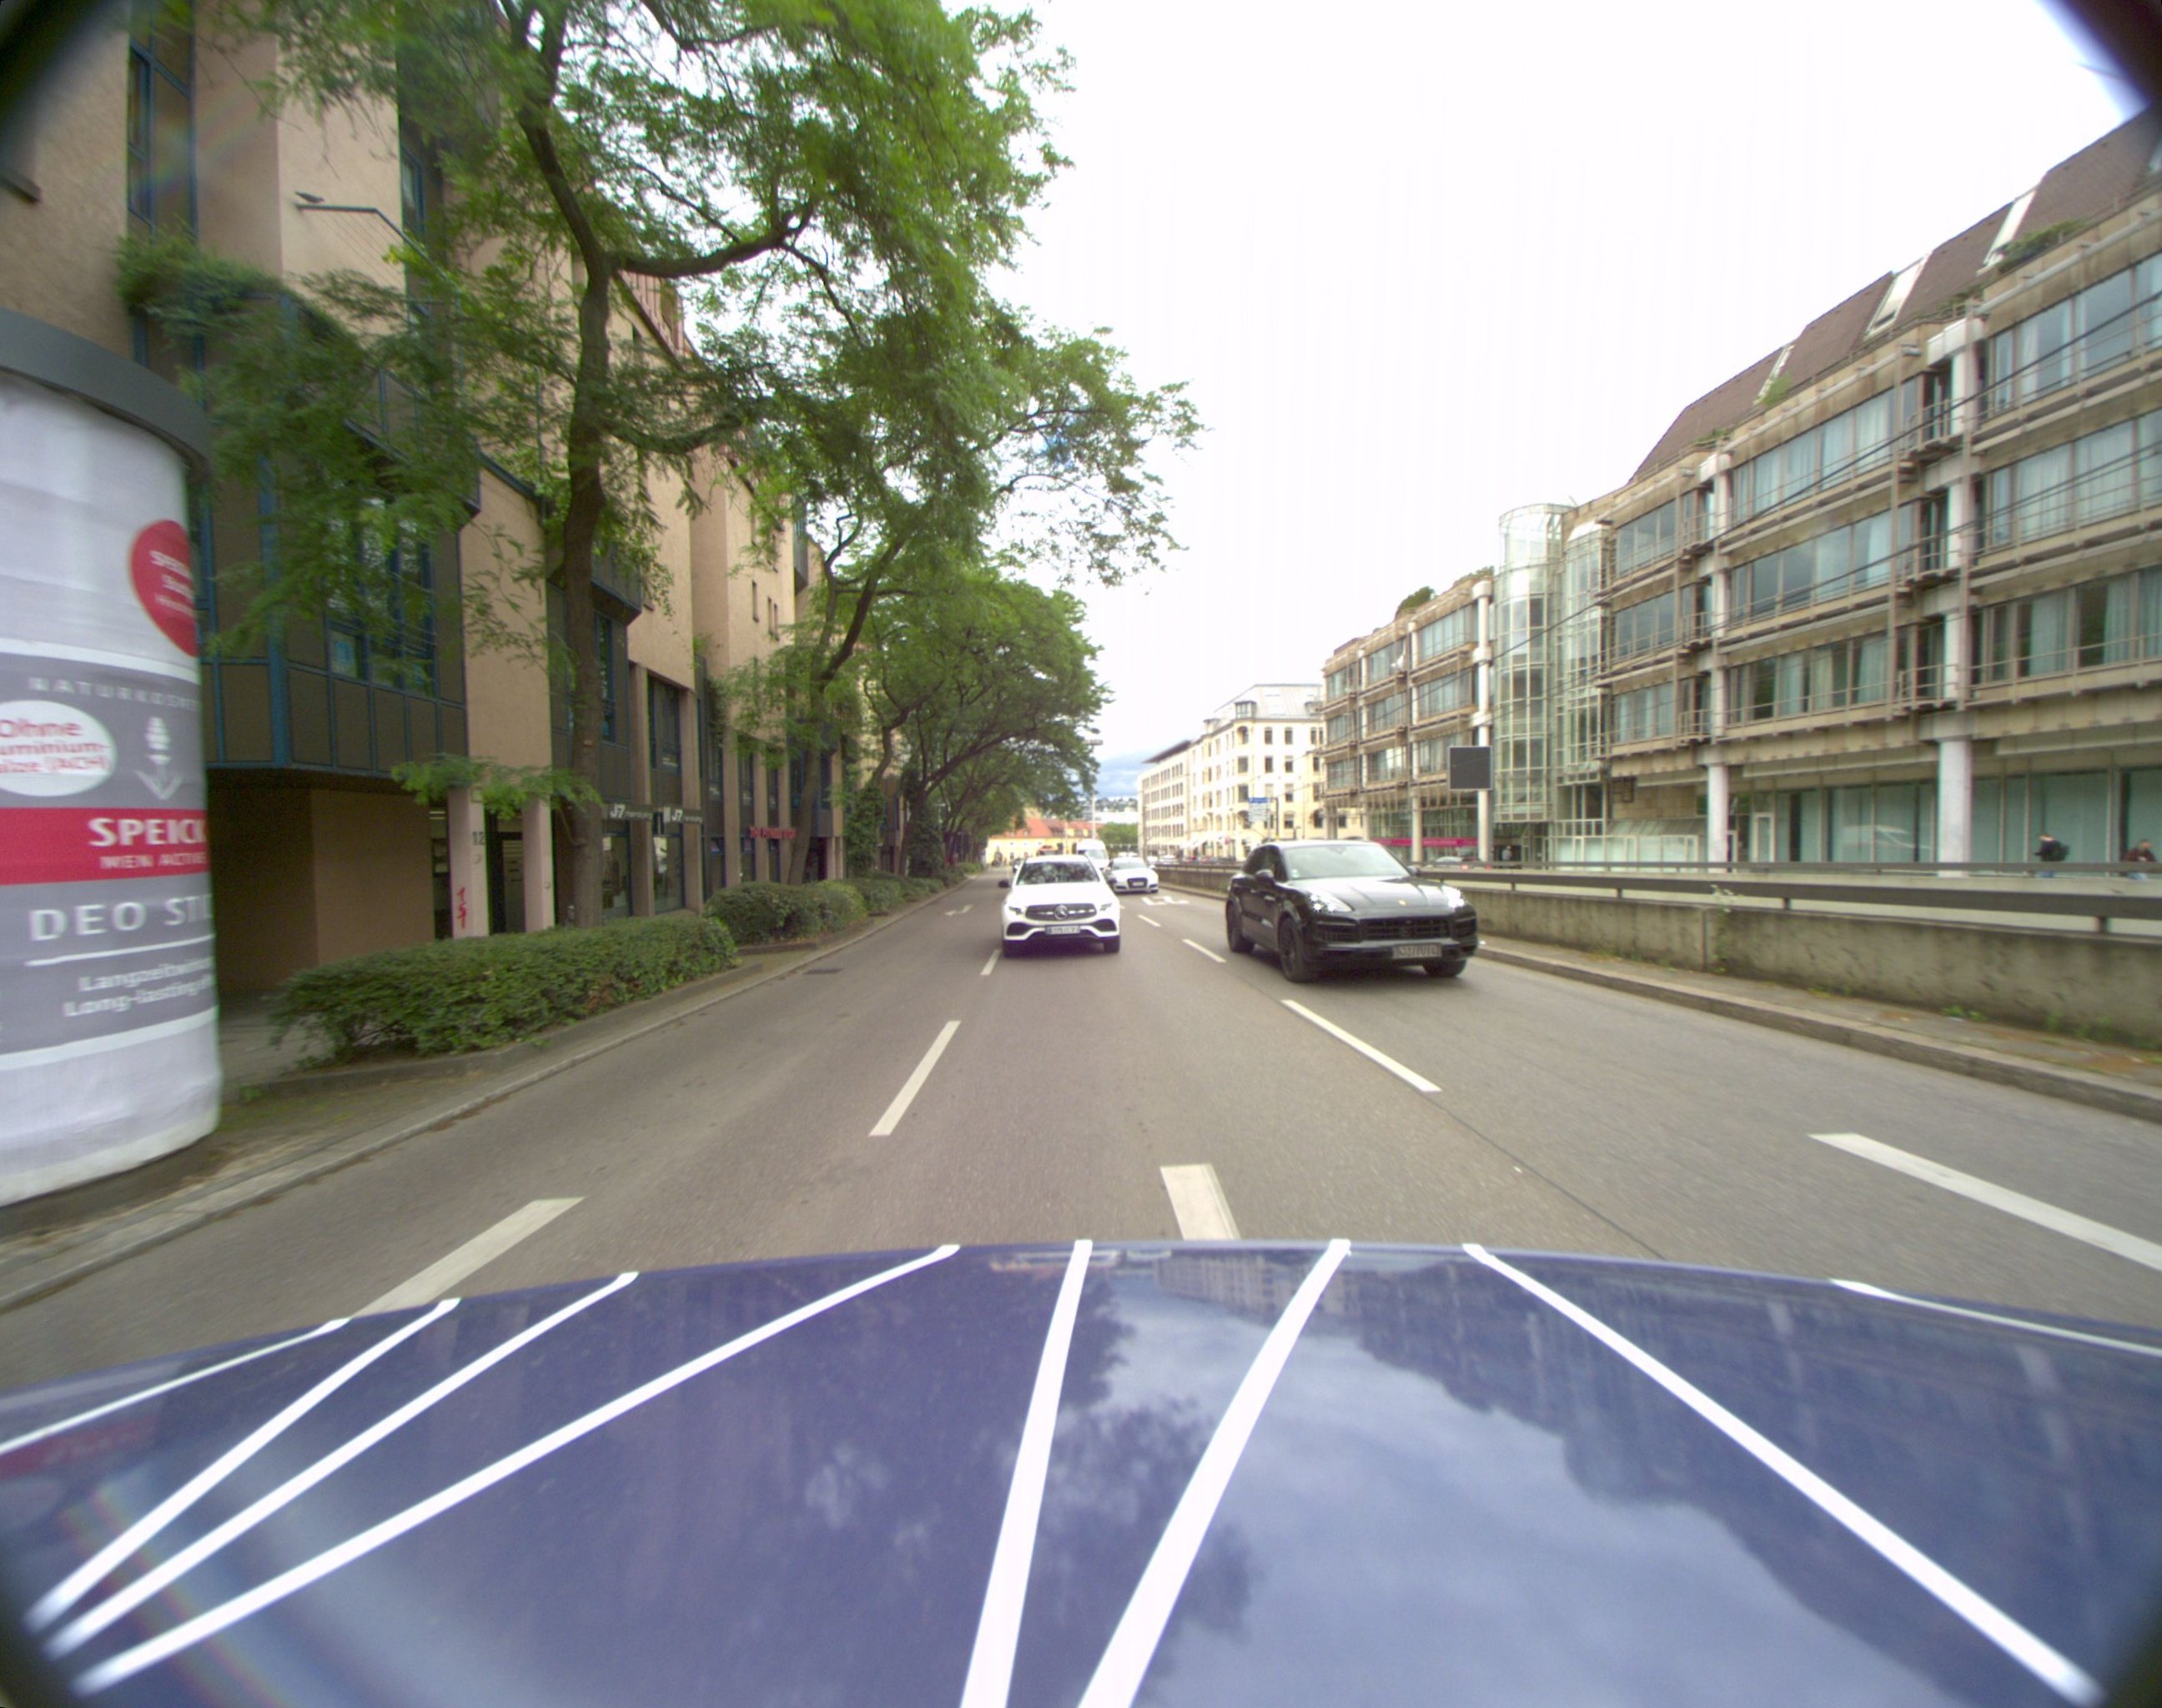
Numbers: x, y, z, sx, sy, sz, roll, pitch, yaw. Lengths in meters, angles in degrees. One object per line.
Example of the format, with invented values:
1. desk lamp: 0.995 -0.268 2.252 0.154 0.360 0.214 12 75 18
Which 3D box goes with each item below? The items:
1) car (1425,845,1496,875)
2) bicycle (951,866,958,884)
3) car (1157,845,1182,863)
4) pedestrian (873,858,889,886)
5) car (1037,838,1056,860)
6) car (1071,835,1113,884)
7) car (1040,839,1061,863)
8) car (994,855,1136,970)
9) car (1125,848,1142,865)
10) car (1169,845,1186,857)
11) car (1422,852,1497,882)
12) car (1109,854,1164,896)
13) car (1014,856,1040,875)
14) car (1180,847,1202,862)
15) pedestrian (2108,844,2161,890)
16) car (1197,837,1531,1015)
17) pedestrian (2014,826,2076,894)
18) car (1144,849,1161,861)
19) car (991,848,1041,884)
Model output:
1. car: 20.562 0.311 41.343 1.668 1.492 4.042 -1 0 -3
2. bicycle: -8.341 1.369 50.047 0.363 1.194 1.568 -1 0 -13
3. car: 9.897 -0.004 85.081 1.839 1.831 4.603 -5 1 -4
4. pedestrian: -12.522 1.126 47.603 0.711 1.701 0.688 -2 0 1
5. car: -4.762 -0.669 104.233 2.504 2.793 5.725 -3 1 -3
6. car: 0.748 0.292 45.760 2.294 2.723 4.754 -2 1 2
7. car: -3.912 -0.411 96.847 2.504 2.793 5.725 -3 1 -3
8. car: -0.397 0.864 13.289 2.061 1.599 3.925 -3 1 -5
9. car: 10.334 0.456 149.464 2.371 3.043 5.466 -3 1 -5
10. car: 16.136 -0.442 127.285 1.999 2.002 3.998 -1 0 -5
11. car: 20.488 0.658 41.352 1.668 1.492 4.412 -1 0 -3
12. car: 2.233 0.811 31.679 1.949 1.521 3.999 -2 1 0
13. car: -4.745 1.016 67.445 1.949 1.521 3.999 -2 1 -1
14. car: 14.820 0.061 102.727 1.999 1.903 4.376 -3 1 -5
15. pedestrian: 29.845 0.365 21.430 0.732 1.258 0.739 -3 1 -4
16. car: 3.254 0.716 10.260 2.089 1.665 5.349 -3 0 -5
17. pedestrian: 26.462 0.148 20.862 0.732 1.801 0.739 -3 1 -4
18. car: 12.131 0.194 129.703 1.999 2.002 4.788 -3 1 -5
19. car: -4.146 0.705 49.443 2.503 2.144 5.728 -2 1 2
